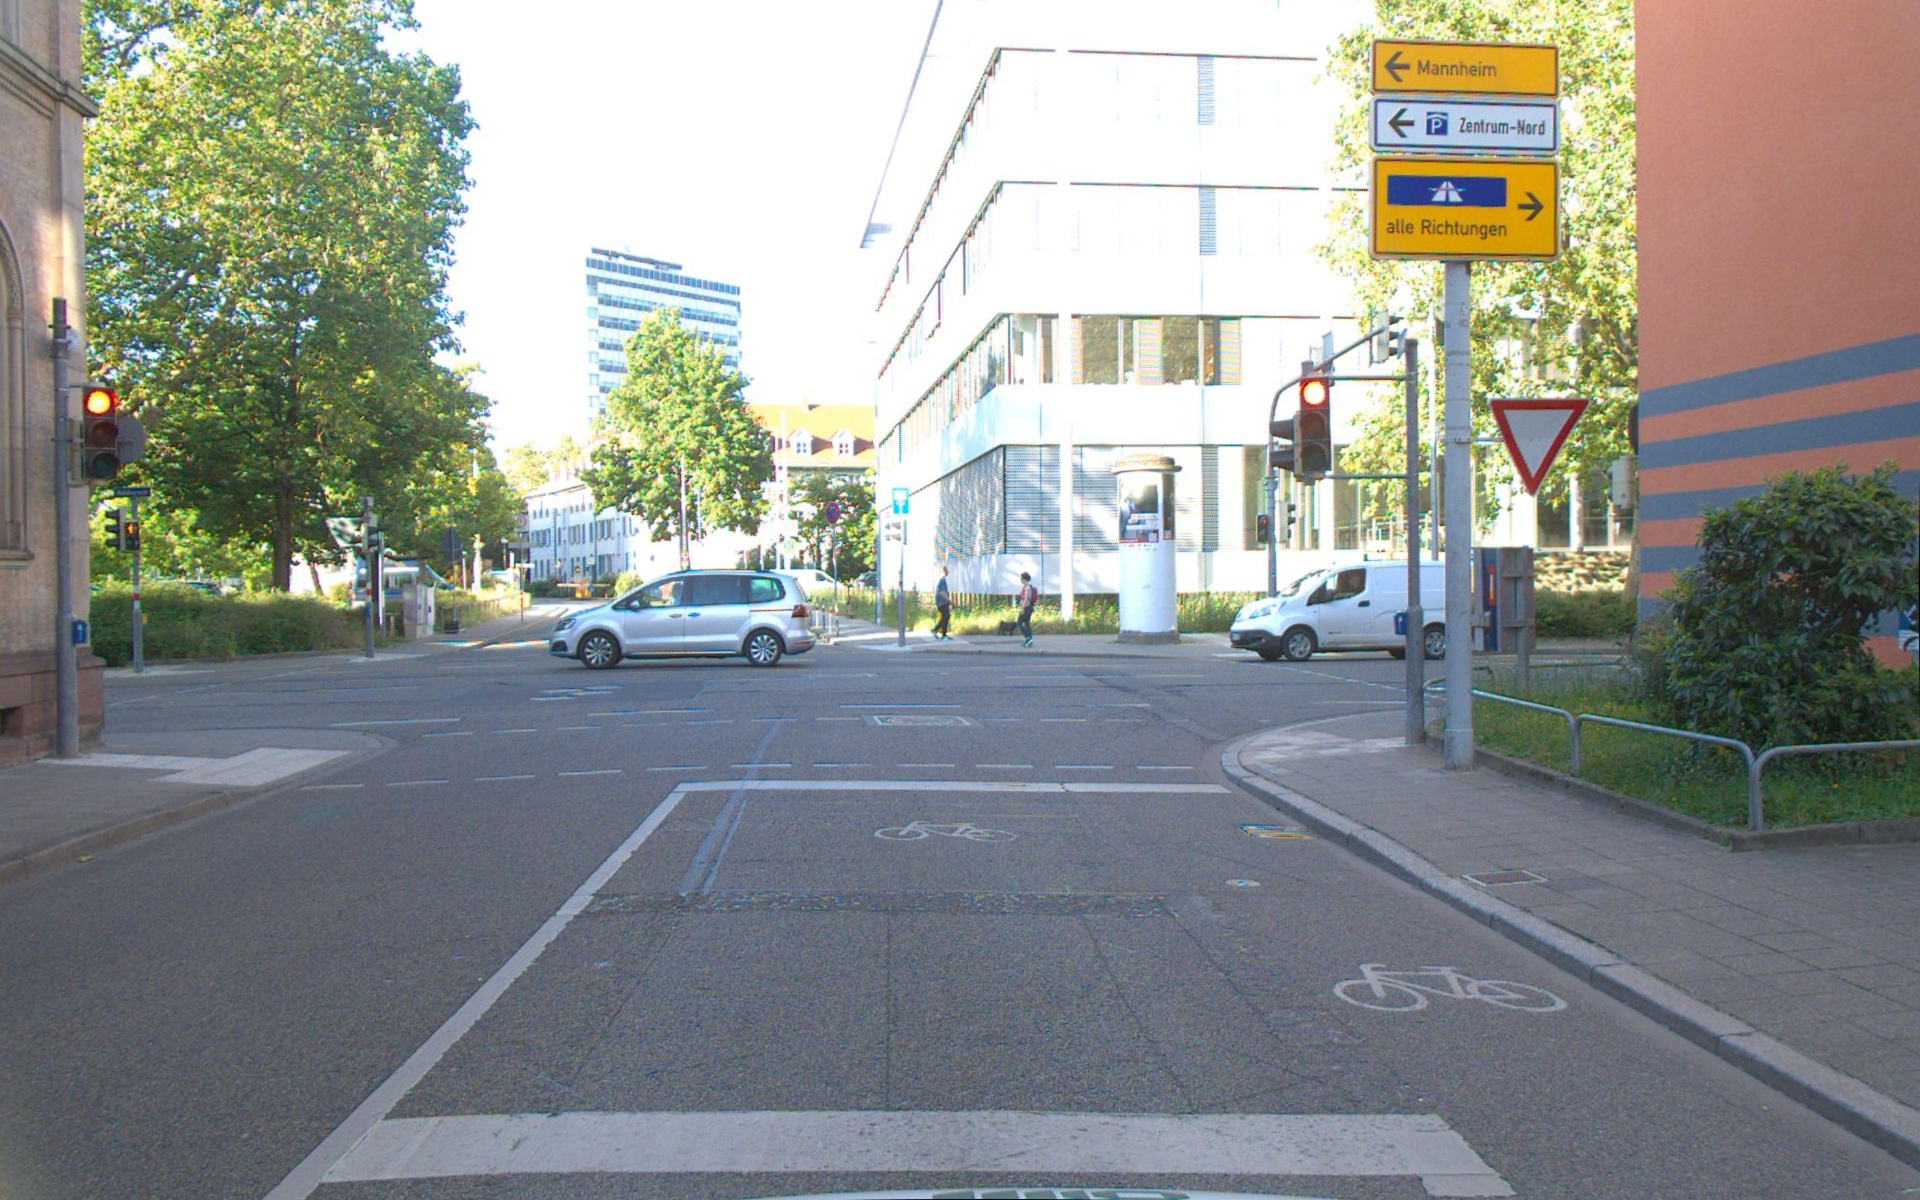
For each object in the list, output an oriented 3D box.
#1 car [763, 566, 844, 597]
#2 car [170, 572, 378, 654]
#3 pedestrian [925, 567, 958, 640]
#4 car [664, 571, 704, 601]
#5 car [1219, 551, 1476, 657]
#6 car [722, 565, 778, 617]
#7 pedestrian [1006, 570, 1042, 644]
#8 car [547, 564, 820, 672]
[{"bbox_3d":[-9.836,-1.157,103.807,4.805,1.904,1.990,0,0,-18],"label":"car"},{"bbox_3d":[-16.085,0.283,38.955,4.146,1.808,1.901,-1,1,-10],"label":"car"},{"bbox_3d":[-0.447,0.074,40.543,0.638,1.766,0.813,-1,1,11],"label":"pedestrian"},{"bbox_3d":[-16.118,-0.835,96.471,2.064,1.686,4.462,-1,1,-12],"label":"car"},{"bbox_3d":[7.328,0.053,31.443,4.455,1.831,1.634,-2,1,-8],"label":"car"},{"bbox_3d":[-8.376,-0.374,65.628,2.029,1.997,4.229,-1,1,-9],"label":"car"},{"bbox_3d":[1.429,0.157,36.802,0.696,1.627,0.618,-1,1,12],"label":"pedestrian"},{"bbox_3d":[-4.909,0.293,29.818,4.669,1.736,1.797,-2,1,-7],"label":"car"}]
